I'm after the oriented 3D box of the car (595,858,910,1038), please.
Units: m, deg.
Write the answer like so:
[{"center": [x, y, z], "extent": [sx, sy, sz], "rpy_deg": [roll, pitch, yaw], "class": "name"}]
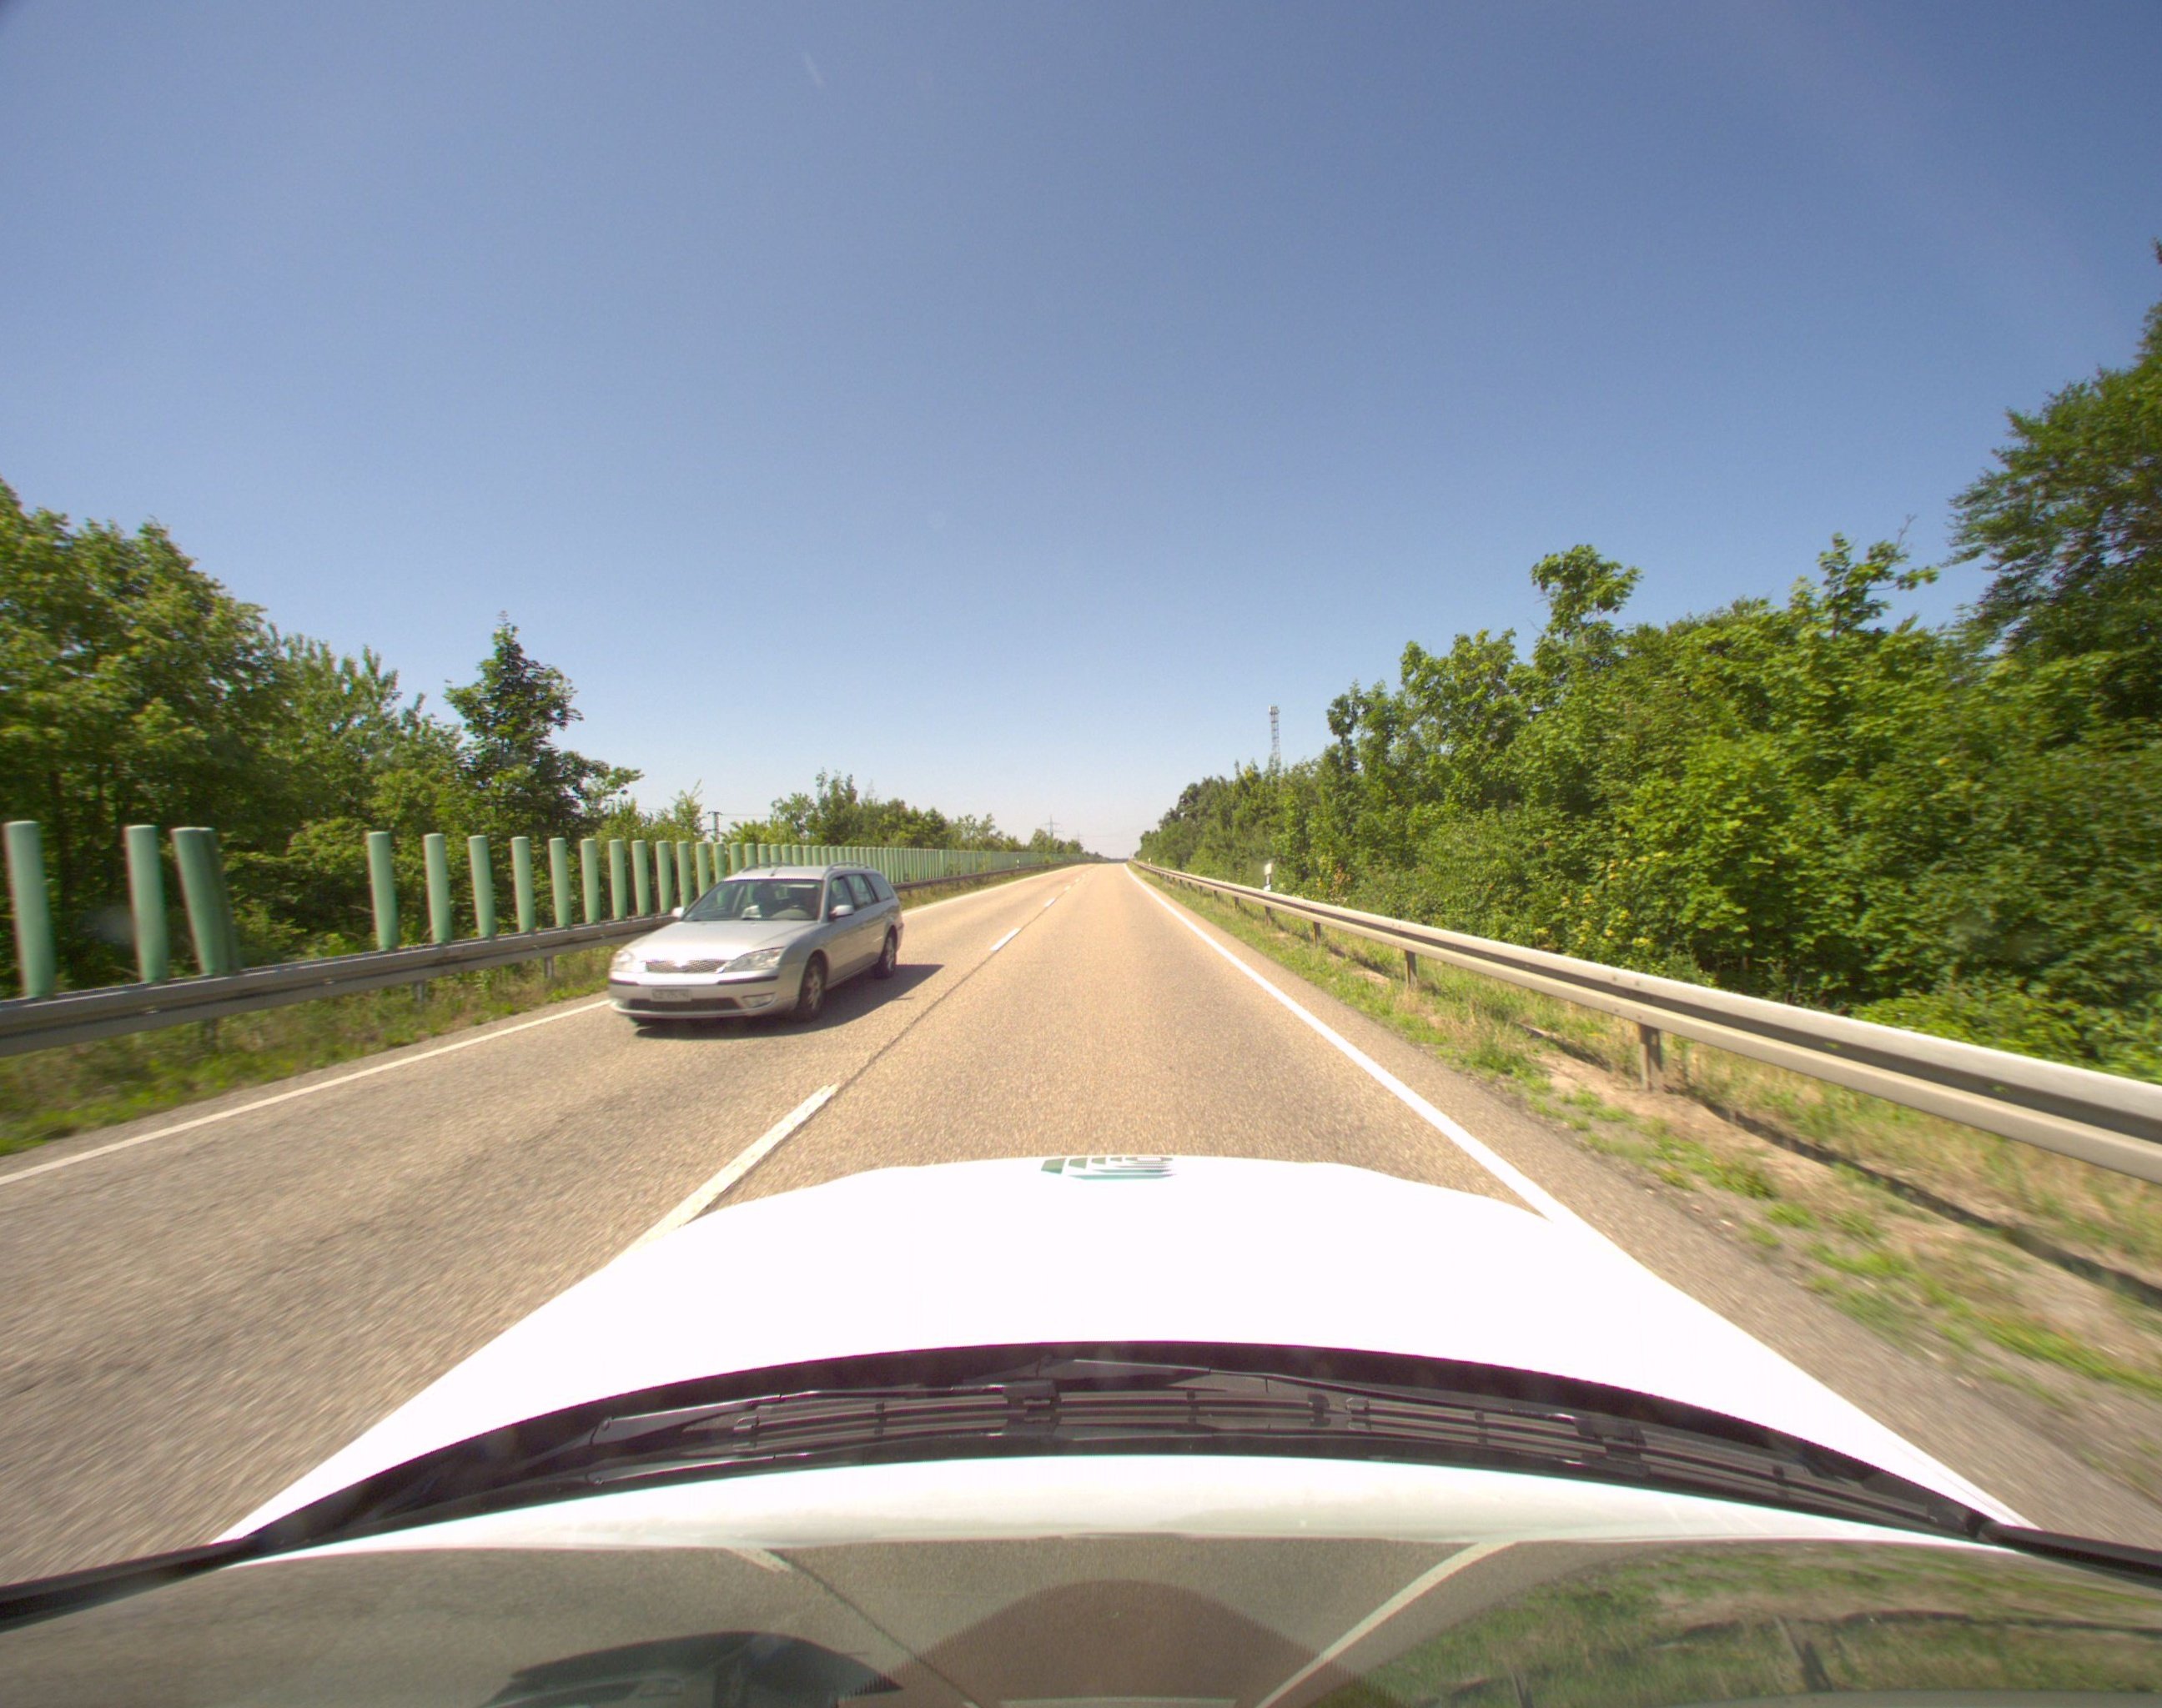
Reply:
[{"center": [-3.290, 0.826, 9.170], "extent": [1.714, 1.501, 4.249], "rpy_deg": [-1, 0, 1], "class": "car"}]
